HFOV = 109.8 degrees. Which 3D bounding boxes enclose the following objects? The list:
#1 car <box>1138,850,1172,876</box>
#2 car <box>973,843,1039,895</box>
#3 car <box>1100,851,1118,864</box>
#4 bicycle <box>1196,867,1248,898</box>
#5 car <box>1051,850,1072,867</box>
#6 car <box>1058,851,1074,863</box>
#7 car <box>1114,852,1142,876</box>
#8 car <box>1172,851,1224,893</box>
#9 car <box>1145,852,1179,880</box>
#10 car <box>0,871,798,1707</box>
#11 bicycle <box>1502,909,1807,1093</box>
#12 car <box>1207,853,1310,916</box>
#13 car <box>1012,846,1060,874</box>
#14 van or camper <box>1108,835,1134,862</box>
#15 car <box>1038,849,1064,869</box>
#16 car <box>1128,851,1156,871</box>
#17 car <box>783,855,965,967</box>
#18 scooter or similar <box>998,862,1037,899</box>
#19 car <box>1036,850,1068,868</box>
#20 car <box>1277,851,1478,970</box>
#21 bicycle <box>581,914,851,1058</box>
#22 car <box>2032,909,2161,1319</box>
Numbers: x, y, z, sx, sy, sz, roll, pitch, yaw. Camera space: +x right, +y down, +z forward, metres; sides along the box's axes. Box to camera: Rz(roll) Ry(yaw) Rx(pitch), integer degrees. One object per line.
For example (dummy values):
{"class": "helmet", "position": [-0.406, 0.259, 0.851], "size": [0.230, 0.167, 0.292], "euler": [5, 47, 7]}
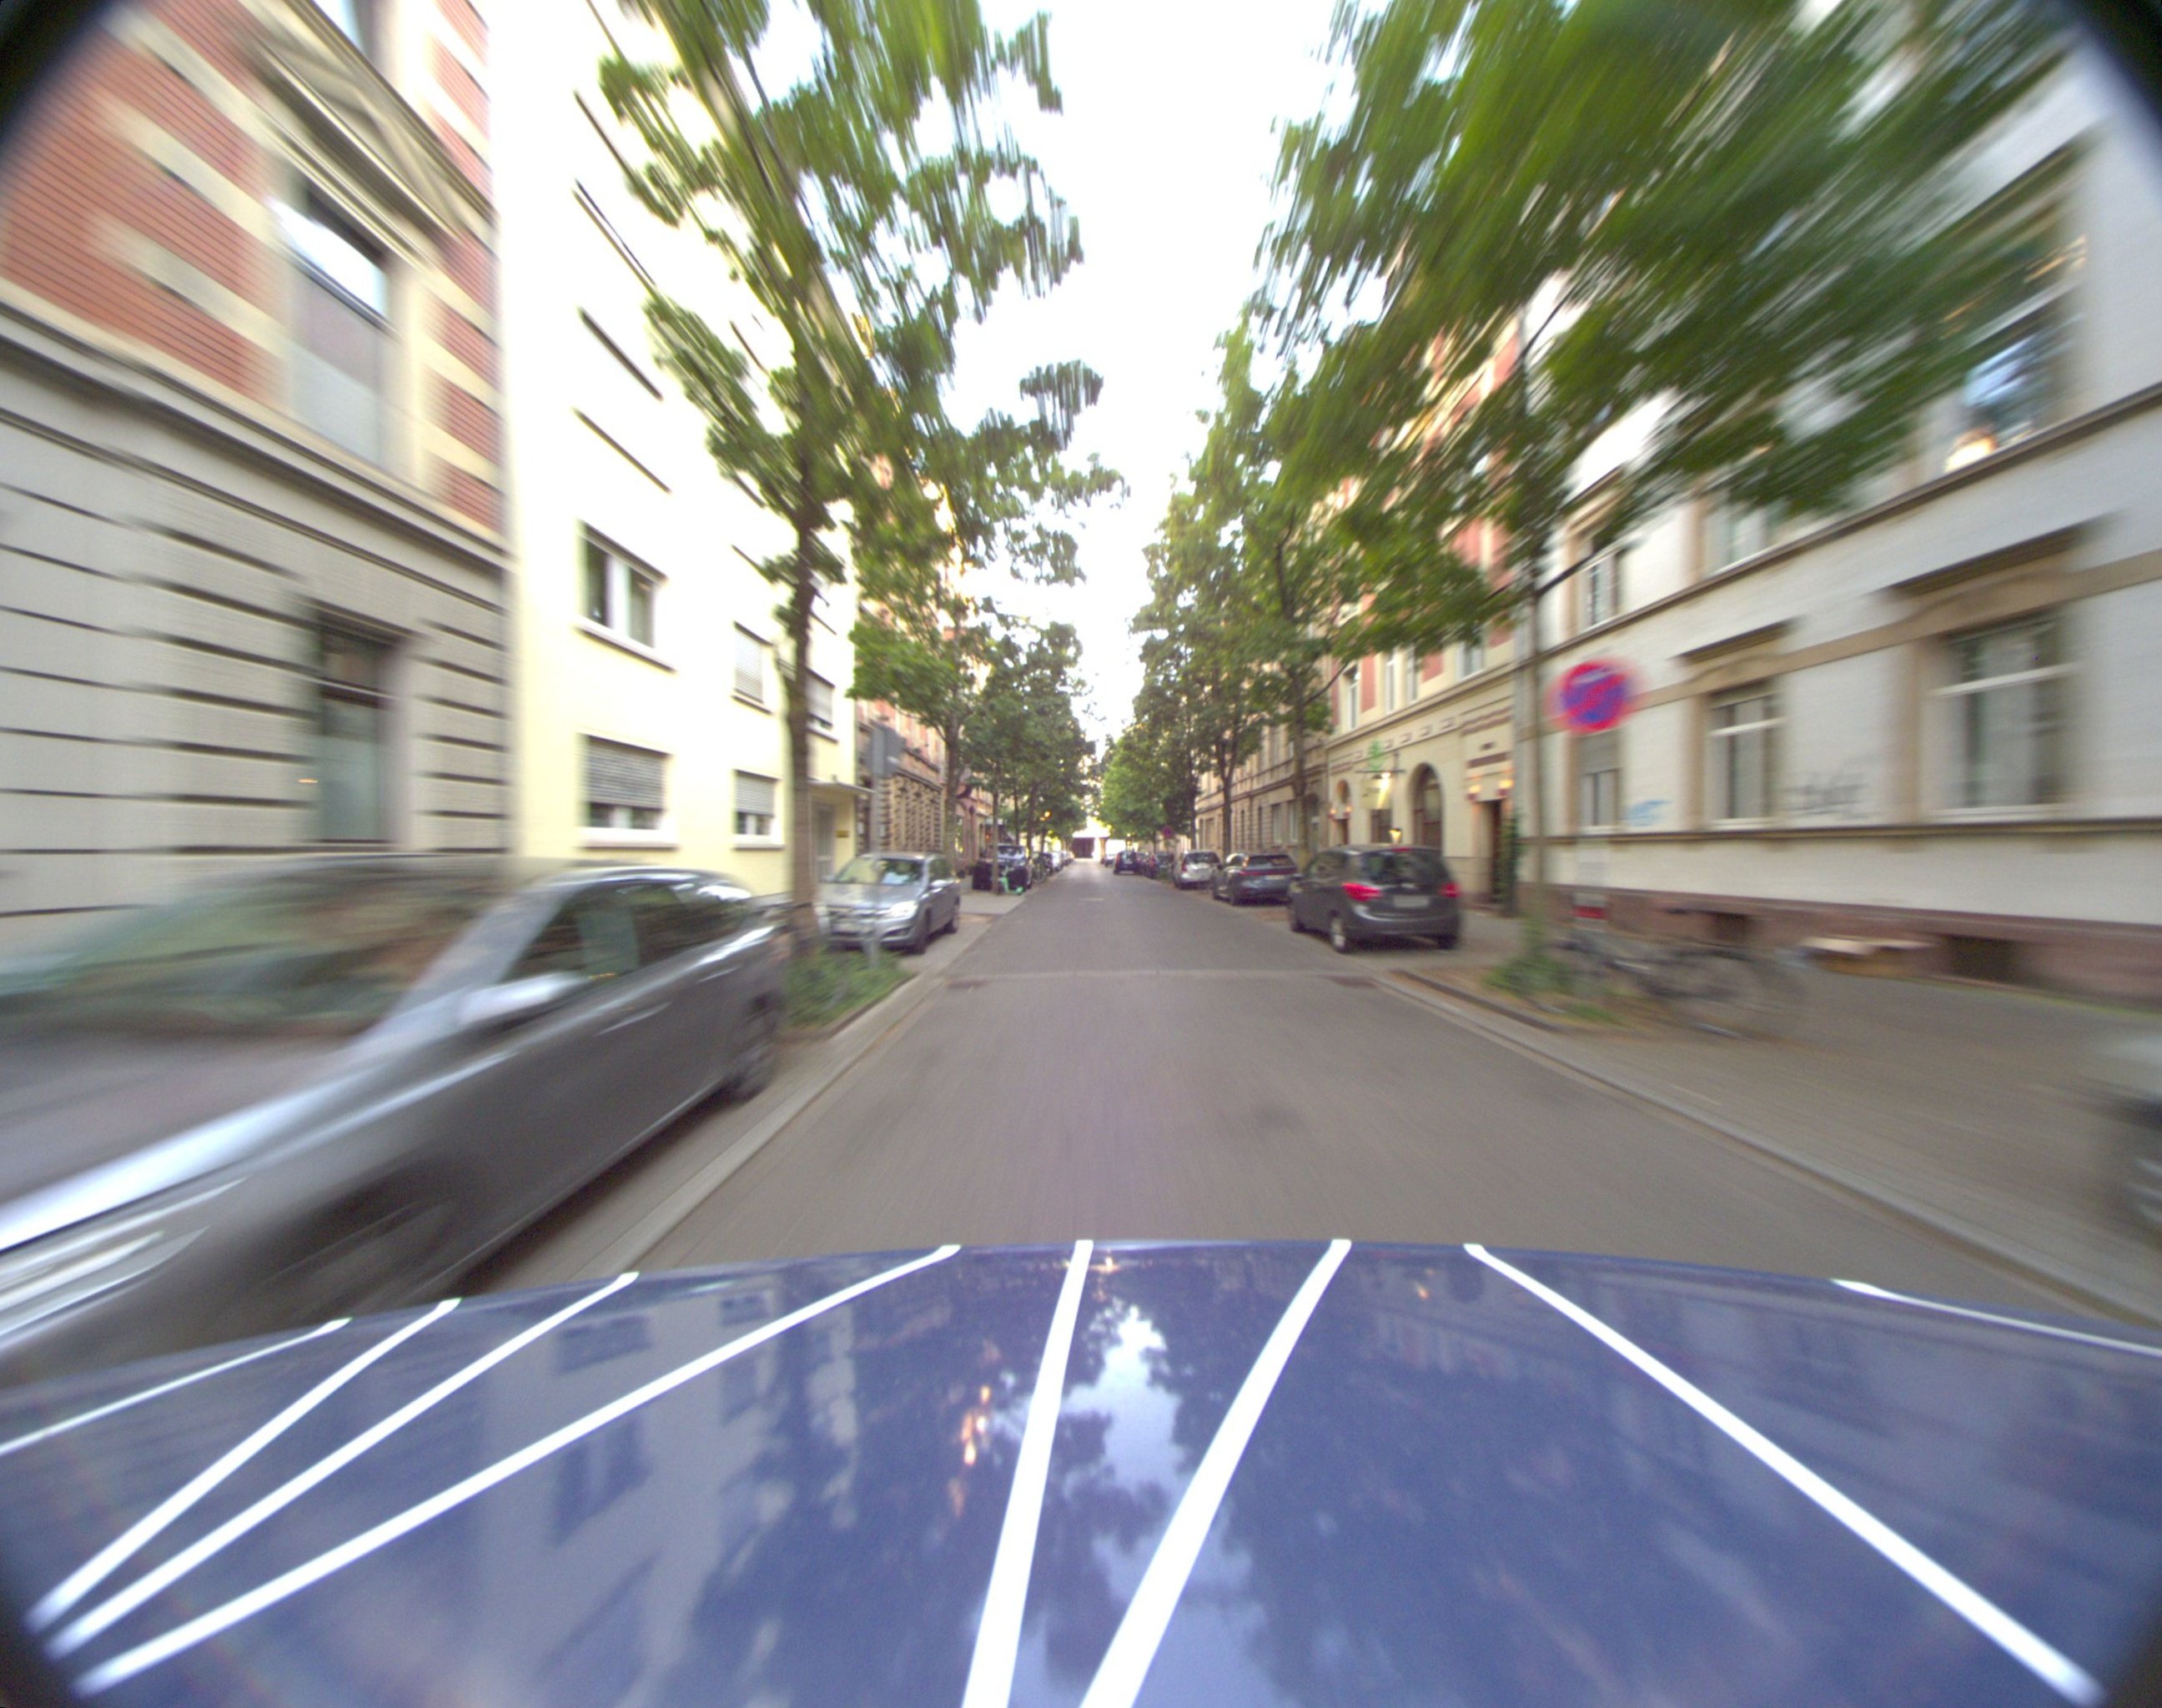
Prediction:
{"class": "car", "position": [4.614, 0.554, 47.643], "size": [1.695, 1.493, 3.711], "euler": [-1, 1, -1]}
{"class": "car", "position": [-2.838, 0.530, 29.815], "size": [2.019, 1.822, 4.810], "euler": [2, 0, 0]}
{"class": "car", "position": [3.267, 0.387, 88.229], "size": [1.665, 1.448, 4.282], "euler": [1, 0, -3]}
{"class": "bicycle", "position": [4.866, 0.979, 26.350], "size": [1.688, 0.997, 0.430], "euler": [-3, 1, 2]}
{"class": "car", "position": [-1.960, 0.427, 76.567], "size": [1.944, 1.621, 4.453], "euler": [0, 0, 0]}
{"class": "car", "position": [-1.855, 0.350, 94.592], "size": [1.835, 1.530, 4.123], "euler": [0, 0, 0]}
{"class": "car", "position": [3.161, 0.627, 51.880], "size": [1.728, 1.564, 4.219], "euler": [0, 0, 0]}
{"class": "car", "position": [4.706, 0.676, 31.005], "size": [1.680, 1.598, 3.862], "euler": [-1, 0, 2]}
{"class": "car", "position": [4.625, 0.637, 43.759], "size": [1.523, 1.493, 3.561], "euler": [-1, 1, 0]}
{"class": "car", "position": [-2.803, 0.888, 3.101], "size": [1.721, 1.467, 4.367], "euler": [2, 0, -1]}
{"class": "bicycle", "position": [4.389, 1.046, 5.927], "size": [1.822, 1.079, 0.670], "euler": [1, 2, 43]}
{"class": "car", "position": [4.824, 0.750, 21.304], "size": [1.810, 1.509, 4.684], "euler": [-1, 0, 0]}
{"class": "car", "position": [-2.834, 0.375, 47.846], "size": [2.804, 1.590, 1.800], "euler": [3, 1, 1]}
{"class": "van or camper", "position": [3.733, -0.543, 72.377], "size": [2.225, 2.417, 5.660], "euler": [1, 0, 0]}
{"class": "car", "position": [-2.205, 0.344, 57.234], "size": [1.737, 1.482, 4.103], "euler": [1, 0, 0]}
{"class": "car", "position": [4.762, 0.517, 59.436], "size": [1.771, 1.454, 4.258], "euler": [0, 0, -1]}
{"class": "car", "position": [-3.101, 0.767, 12.312], "size": [1.763, 1.454, 4.307], "euler": [1, 0, 0]}
{"class": "scooter or similar", "position": [-2.149, 0.884, 25.781], "size": [0.673, 1.183, 1.118], "euler": [4, 2, 40]}
{"class": "car", "position": [-2.615, 0.421, 69.171], "size": [2.721, 1.564, 1.526], "euler": [2, 1, 0]}
{"class": "car", "position": [4.532, 0.764, 12.310], "size": [1.710, 1.571, 4.078], "euler": [-1, 0, 1]}
{"class": "bicycle", "position": [-2.931, 1.033, 6.300], "size": [1.924, 0.976, 0.637], "euler": [0, 1, -21]}
{"class": "car", "position": [4.653, 0.943, 1.303], "size": [1.591, 1.428, 3.565], "euler": [-1, 0, 0]}
